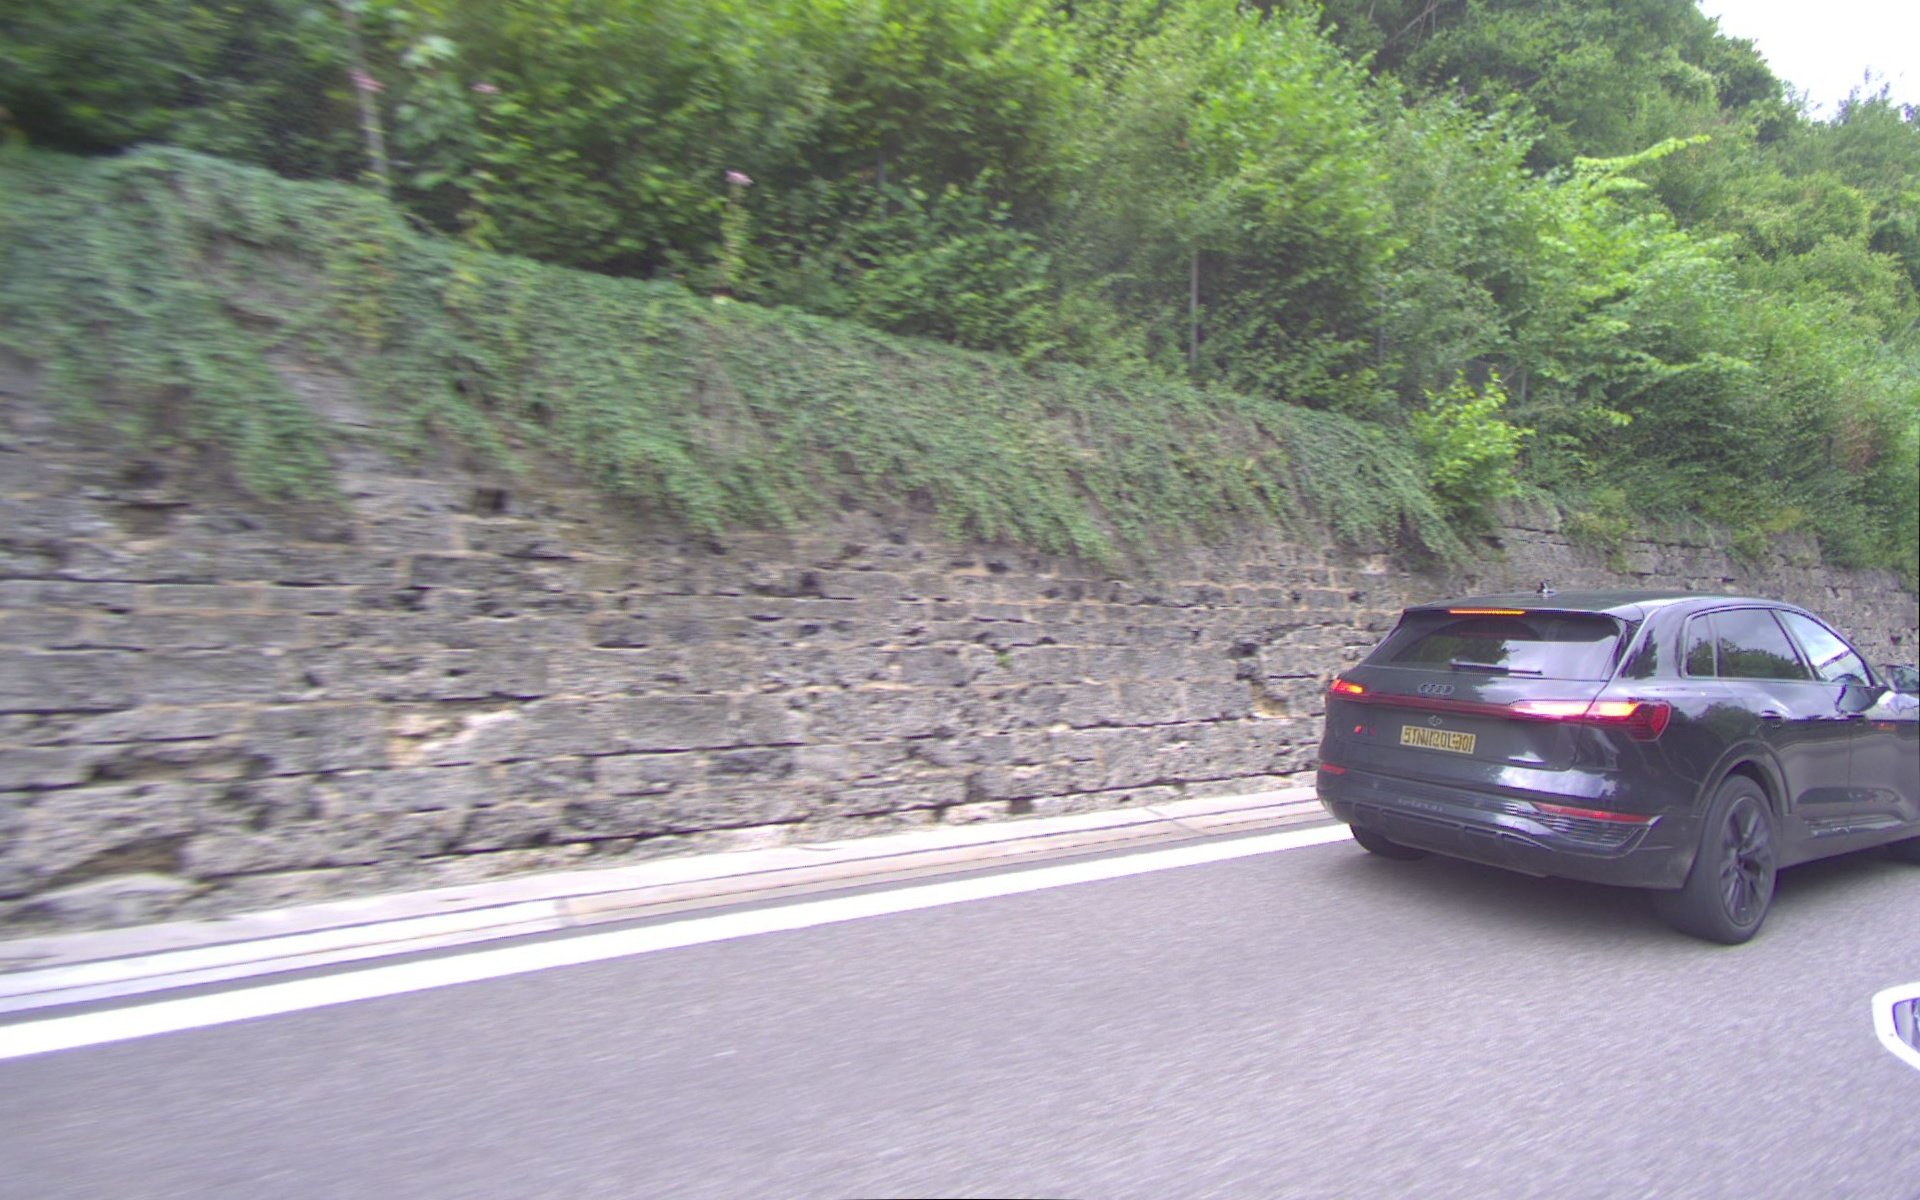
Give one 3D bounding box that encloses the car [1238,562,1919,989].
[{"bbox_3d":[4.181,0.734,6.029,4.950,1.654,1.984,1,-1,-31],"label":"car"}]
